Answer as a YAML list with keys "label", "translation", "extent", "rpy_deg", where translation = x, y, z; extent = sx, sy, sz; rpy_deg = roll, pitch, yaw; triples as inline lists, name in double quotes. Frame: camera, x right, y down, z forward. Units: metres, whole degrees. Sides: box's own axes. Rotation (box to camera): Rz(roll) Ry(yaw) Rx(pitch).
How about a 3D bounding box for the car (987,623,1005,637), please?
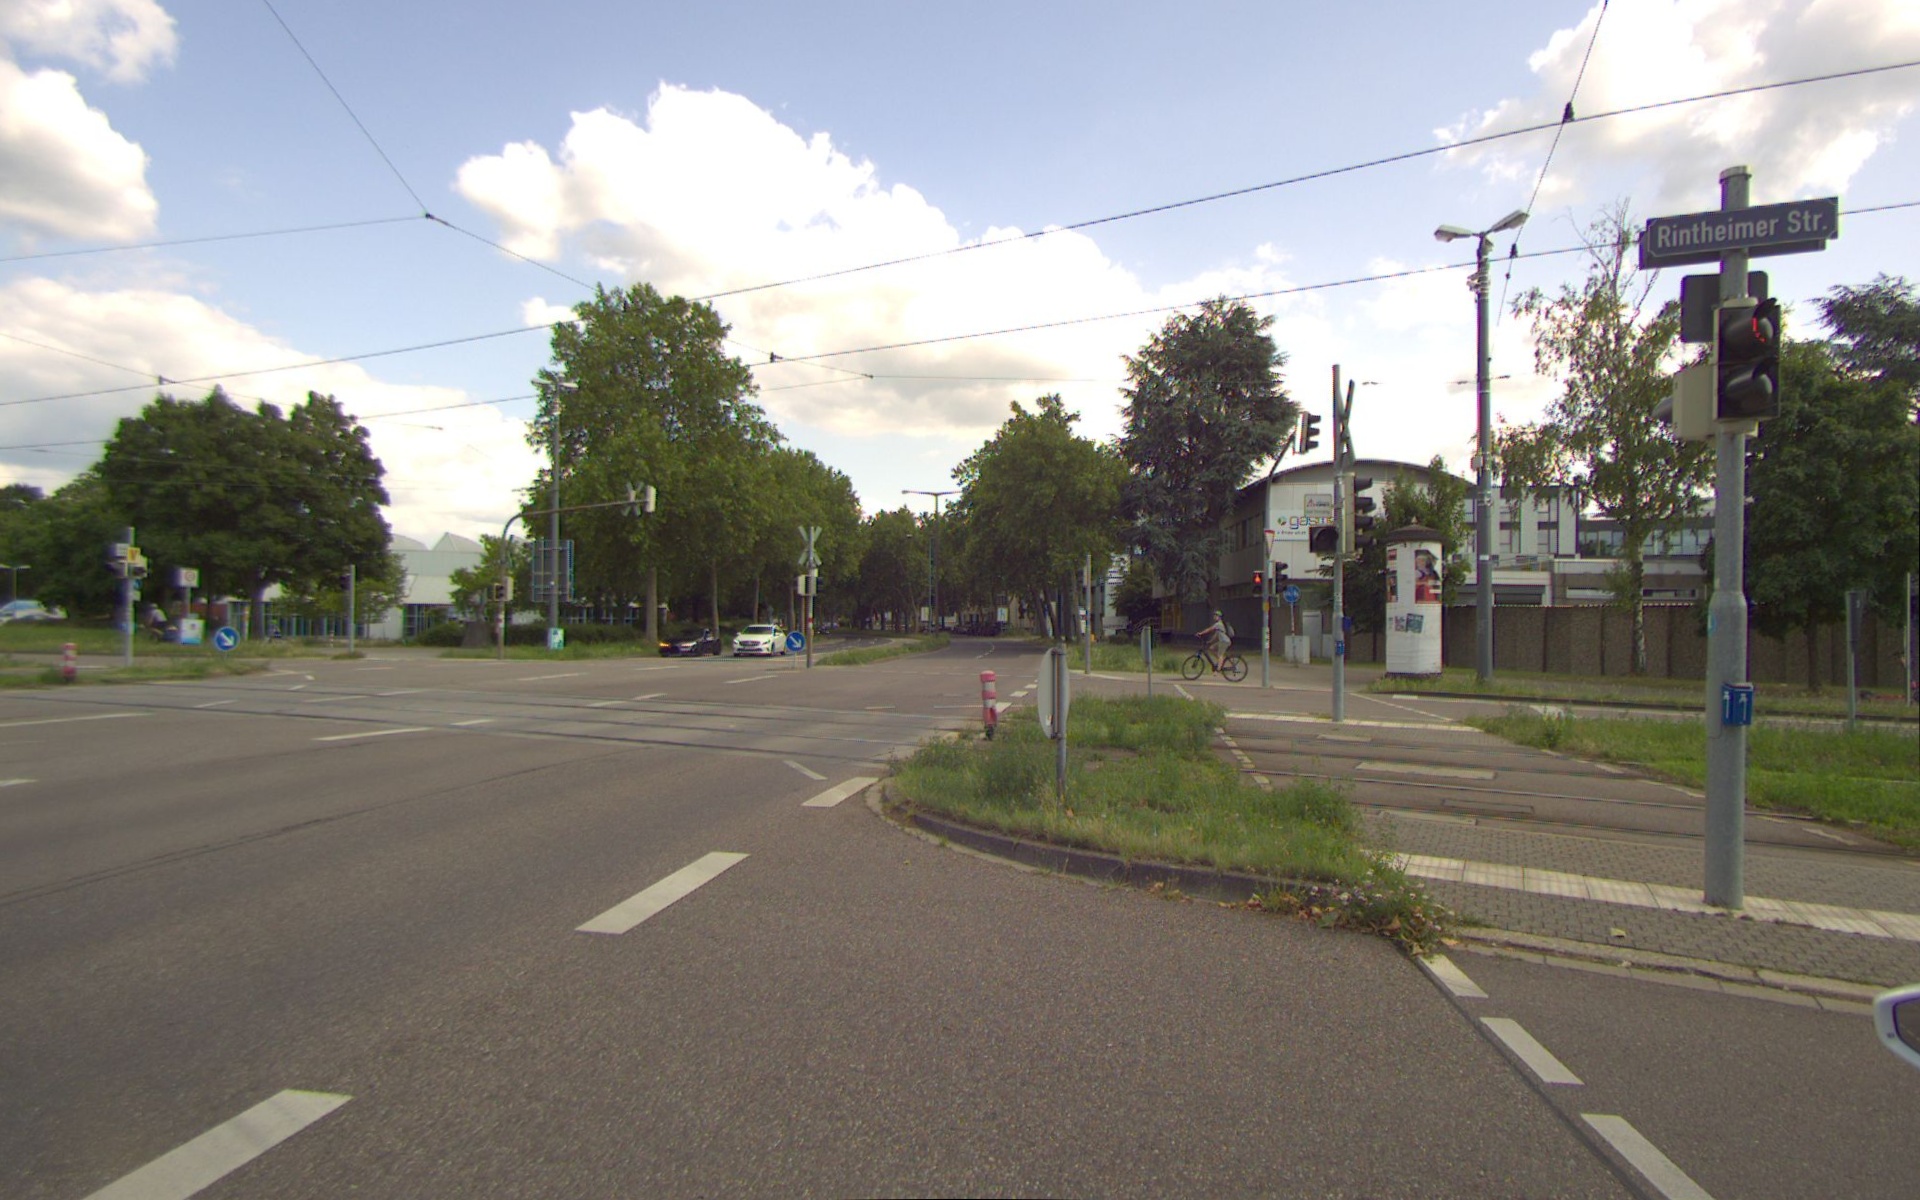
- label: "car"
  translation: [4.700, 3.930, 131.408]
  extent: [1.962, 1.595, 3.997]
  rpy_deg: [0, 1, -5]

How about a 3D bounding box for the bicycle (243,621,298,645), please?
- label: "bicycle"
  translation: [-31.986, 1.538, 46.610]
  extent: [1.959, 1.054, 0.945]
  rpy_deg: [1, -1, -28]

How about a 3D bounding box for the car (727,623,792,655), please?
- label: "car"
  translation: [-9.142, 1.768, 46.119]
  extent: [1.794, 1.382, 4.140]
  rpy_deg: [1, -1, 5]

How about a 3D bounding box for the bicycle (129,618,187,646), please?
- label: "bicycle"
  translation: [-34.971, 1.374, 43.823]
  extent: [1.944, 1.169, 0.952]
  rpy_deg: [0, -1, 14]

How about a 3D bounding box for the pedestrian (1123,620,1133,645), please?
- label: "pedestrian"
  translation: [10.938, 2.094, 65.263]
  extent: [0.610, 1.590, 0.559]
  rpy_deg: [0, 1, 6]

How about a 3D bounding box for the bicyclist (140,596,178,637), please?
- label: "bicyclist"
  translation: [-34.912, 0.729, 43.812]
  extent: [0.819, 1.745, 0.964]
  rpy_deg: [1, -1, 13]

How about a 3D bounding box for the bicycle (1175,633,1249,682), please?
- label: "bicycle"
  translation: [6.834, 1.536, 27.205]
  extent: [1.913, 1.252, 0.541]
  rpy_deg: [0, 1, 16]

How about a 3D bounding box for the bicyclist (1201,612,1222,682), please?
- label: "bicyclist"
  translation: [6.811, 1.263, 27.176]
  extent: [0.534, 1.834, 0.541]
  rpy_deg: [1, 1, 16]

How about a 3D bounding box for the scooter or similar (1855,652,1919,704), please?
- label: "scooter or similar"
  translation: [21.246, 1.769, 22.974]
  extent: [0.399, 1.074, 1.091]
  rpy_deg: [-1, 1, -40]

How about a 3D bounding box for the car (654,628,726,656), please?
- label: "car"
  translation: [-12.251, 1.895, 45.787]
  extent: [1.607, 1.207, 3.711]
  rpy_deg: [0, -1, 14]

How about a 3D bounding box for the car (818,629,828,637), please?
- label: "car"
  translation: [-22.835, 5.521, 167.669]
  extent: [1.610, 1.207, 3.703]
  rpy_deg: [1, -1, -9]

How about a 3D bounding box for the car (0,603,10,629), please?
- label: "car"
  translation: [-62.516, 1.008, 64.220]
  extent: [4.322, 1.661, 1.992]
  rpy_deg: [0, -2, 39]

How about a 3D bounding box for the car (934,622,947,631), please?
- label: "car"
  translation: [-3.490, 4.721, 179.206]
  extent: [1.962, 1.595, 3.997]
  rpy_deg: [0, 1, -5]

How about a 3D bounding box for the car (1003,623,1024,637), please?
- label: "car"
  translation: [6.372, 3.555, 119.736]
  extent: [1.962, 1.595, 3.997]
  rpy_deg: [0, 1, -5]

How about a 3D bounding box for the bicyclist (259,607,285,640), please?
- label: "bicyclist"
  translation: [-31.943, 1.099, 46.640]
  extent: [0.825, 1.509, 0.957]
  rpy_deg: [1, -1, -27]

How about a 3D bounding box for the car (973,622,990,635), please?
- label: "car"
  translation: [2.990, 3.934, 139.673]
  extent: [1.962, 1.595, 3.997]
  rpy_deg: [0, 1, -5]
